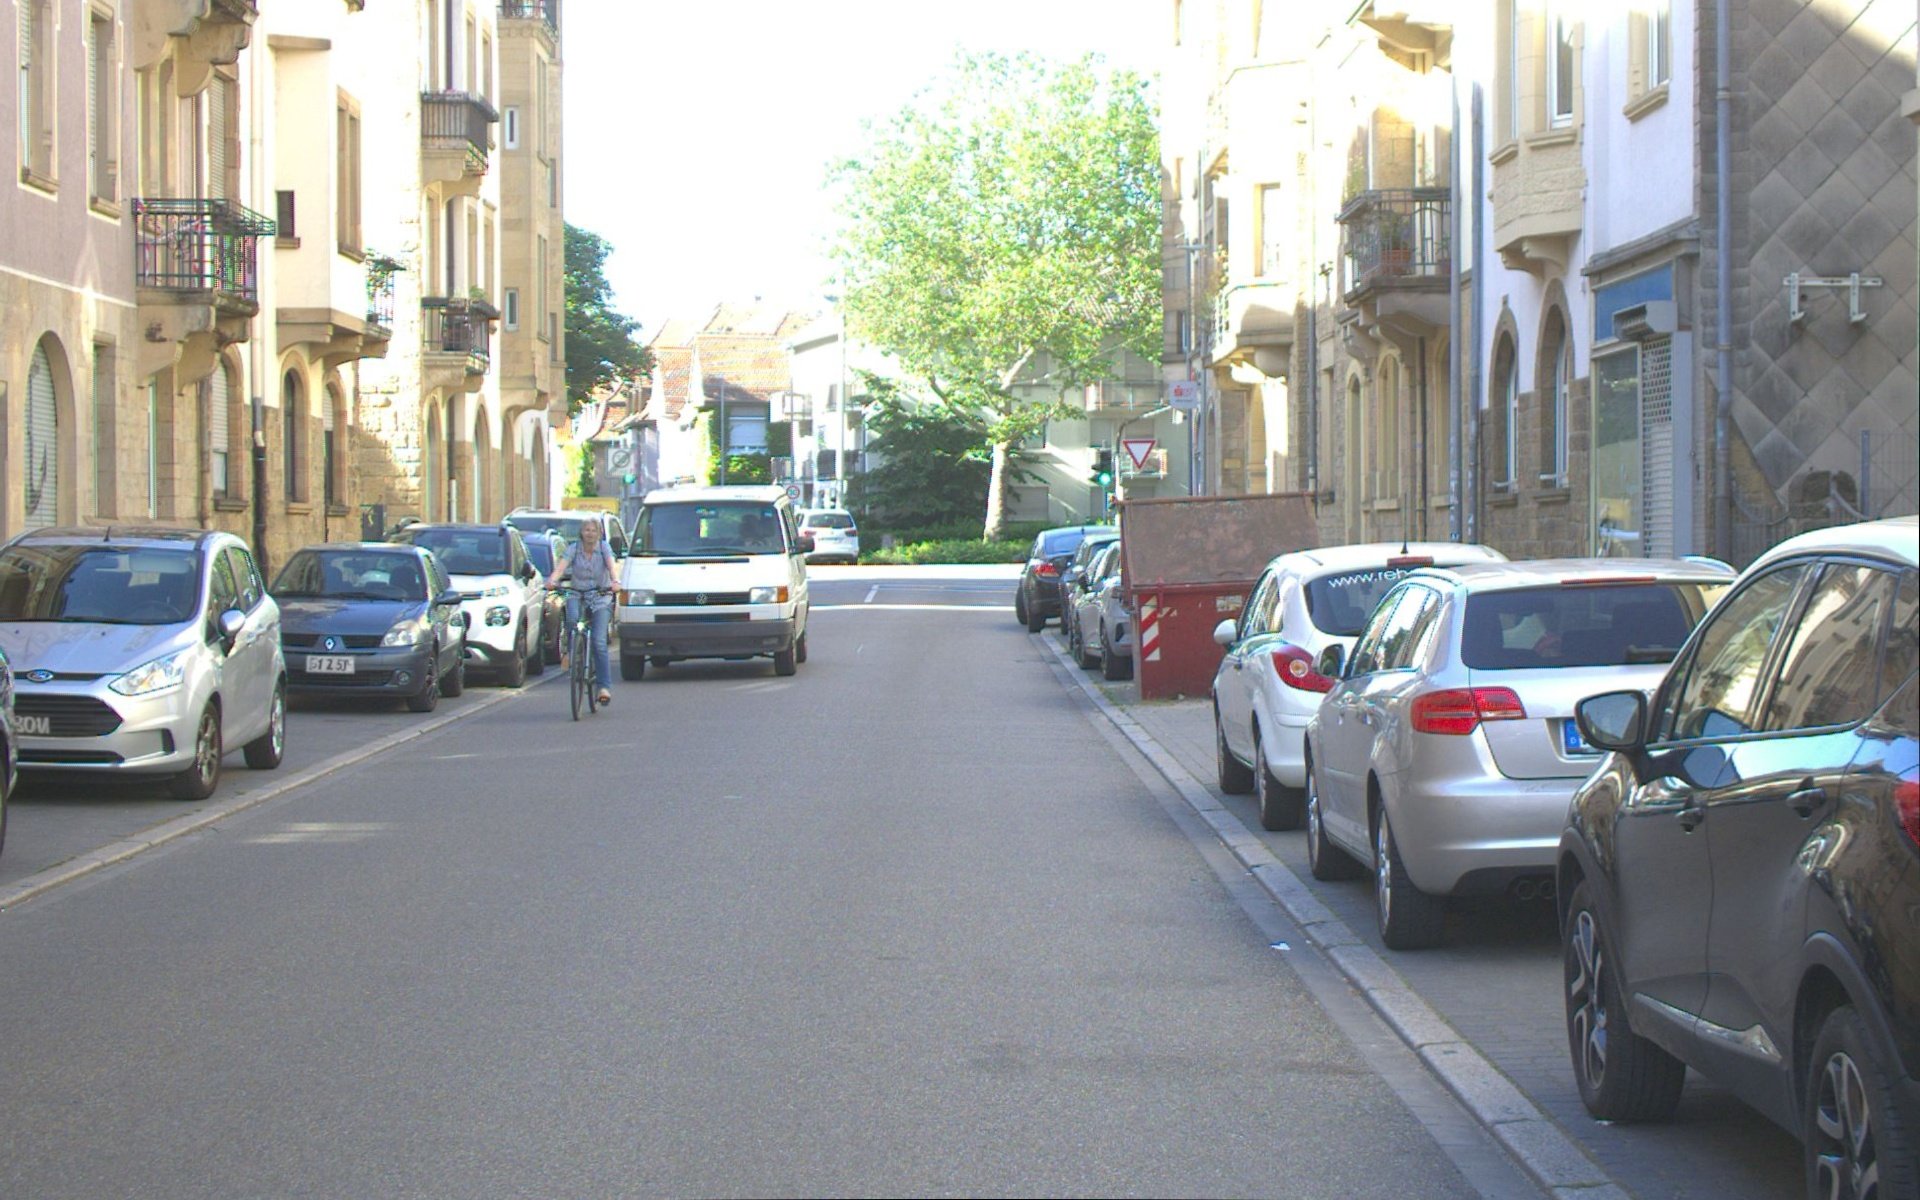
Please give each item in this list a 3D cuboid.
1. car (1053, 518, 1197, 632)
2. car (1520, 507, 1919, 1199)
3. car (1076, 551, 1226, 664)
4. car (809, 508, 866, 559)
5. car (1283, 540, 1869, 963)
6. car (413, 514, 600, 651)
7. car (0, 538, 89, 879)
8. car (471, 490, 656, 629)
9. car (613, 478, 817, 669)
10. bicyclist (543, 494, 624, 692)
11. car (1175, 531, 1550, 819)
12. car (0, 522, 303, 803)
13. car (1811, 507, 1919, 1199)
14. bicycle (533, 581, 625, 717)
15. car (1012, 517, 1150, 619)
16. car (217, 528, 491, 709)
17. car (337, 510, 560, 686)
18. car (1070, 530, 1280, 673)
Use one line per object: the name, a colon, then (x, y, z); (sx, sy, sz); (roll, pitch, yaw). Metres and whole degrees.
car: (2.194, -0.372, 46.578); (1.651, 1.437, 4.259); (-1, 2, -1)
car: (2.459, 0.554, 8.206); (1.680, 1.540, 3.915); (-1, 1, 2)
car: (2.246, 0.053, 41.064); (1.693, 1.250, 3.941); (0, 1, 2)
car: (-3.688, -1.987, 103.487); (1.674, 1.477, 3.522); (1, 1, -2)
car: (2.385, 0.504, 14.278); (1.652, 1.459, 4.095); (0, 1, -1)
car: (-5.256, -0.249, 40.283); (1.573, 1.482, 4.280); (1, 1, 0)
car: (-5.157, 0.509, 14.981); (1.714, 1.516, 4.110); (-1, 1, -1)
car: (-5.388, -0.588, 47.258); (1.892, 1.716, 4.726); (3, 2, 0)
car: (-2.571, -0.324, 37.040); (1.863, 1.930, 4.600); (0, 1, 0)
bicyclist: (-3.187, -0.064, 29.121); (0.608, 1.660, 0.632); (0, 1, 1)
car: (2.204, 0.349, 19.666); (1.586, 1.459, 3.712); (-1, 1, -2)
car: (-5.182, 0.308, 21.047); (1.714, 1.532, 3.724); (0, 2, -2)
car: (2.327, 0.725, 3.776); (1.786, 1.658, 4.434); (0, 1, 1)
bicycle: (-3.199, 0.398, 28.996); (0.540, 1.072, 1.800); (0, 1, 1)
car: (1.771, -0.515, 51.420); (1.865, 1.457, 4.340); (0, 1, -1)
car: (-5.252, 0.114, 30.213); (1.672, 1.388, 3.666); (3, 2, 0)
car: (-5.119, -0.072, 34.832); (1.714, 1.578, 4.021); (3, 1, -2)
car: (2.228, -0.026, 36.573); (1.786, 1.425, 3.808); (0, 1, -3)
